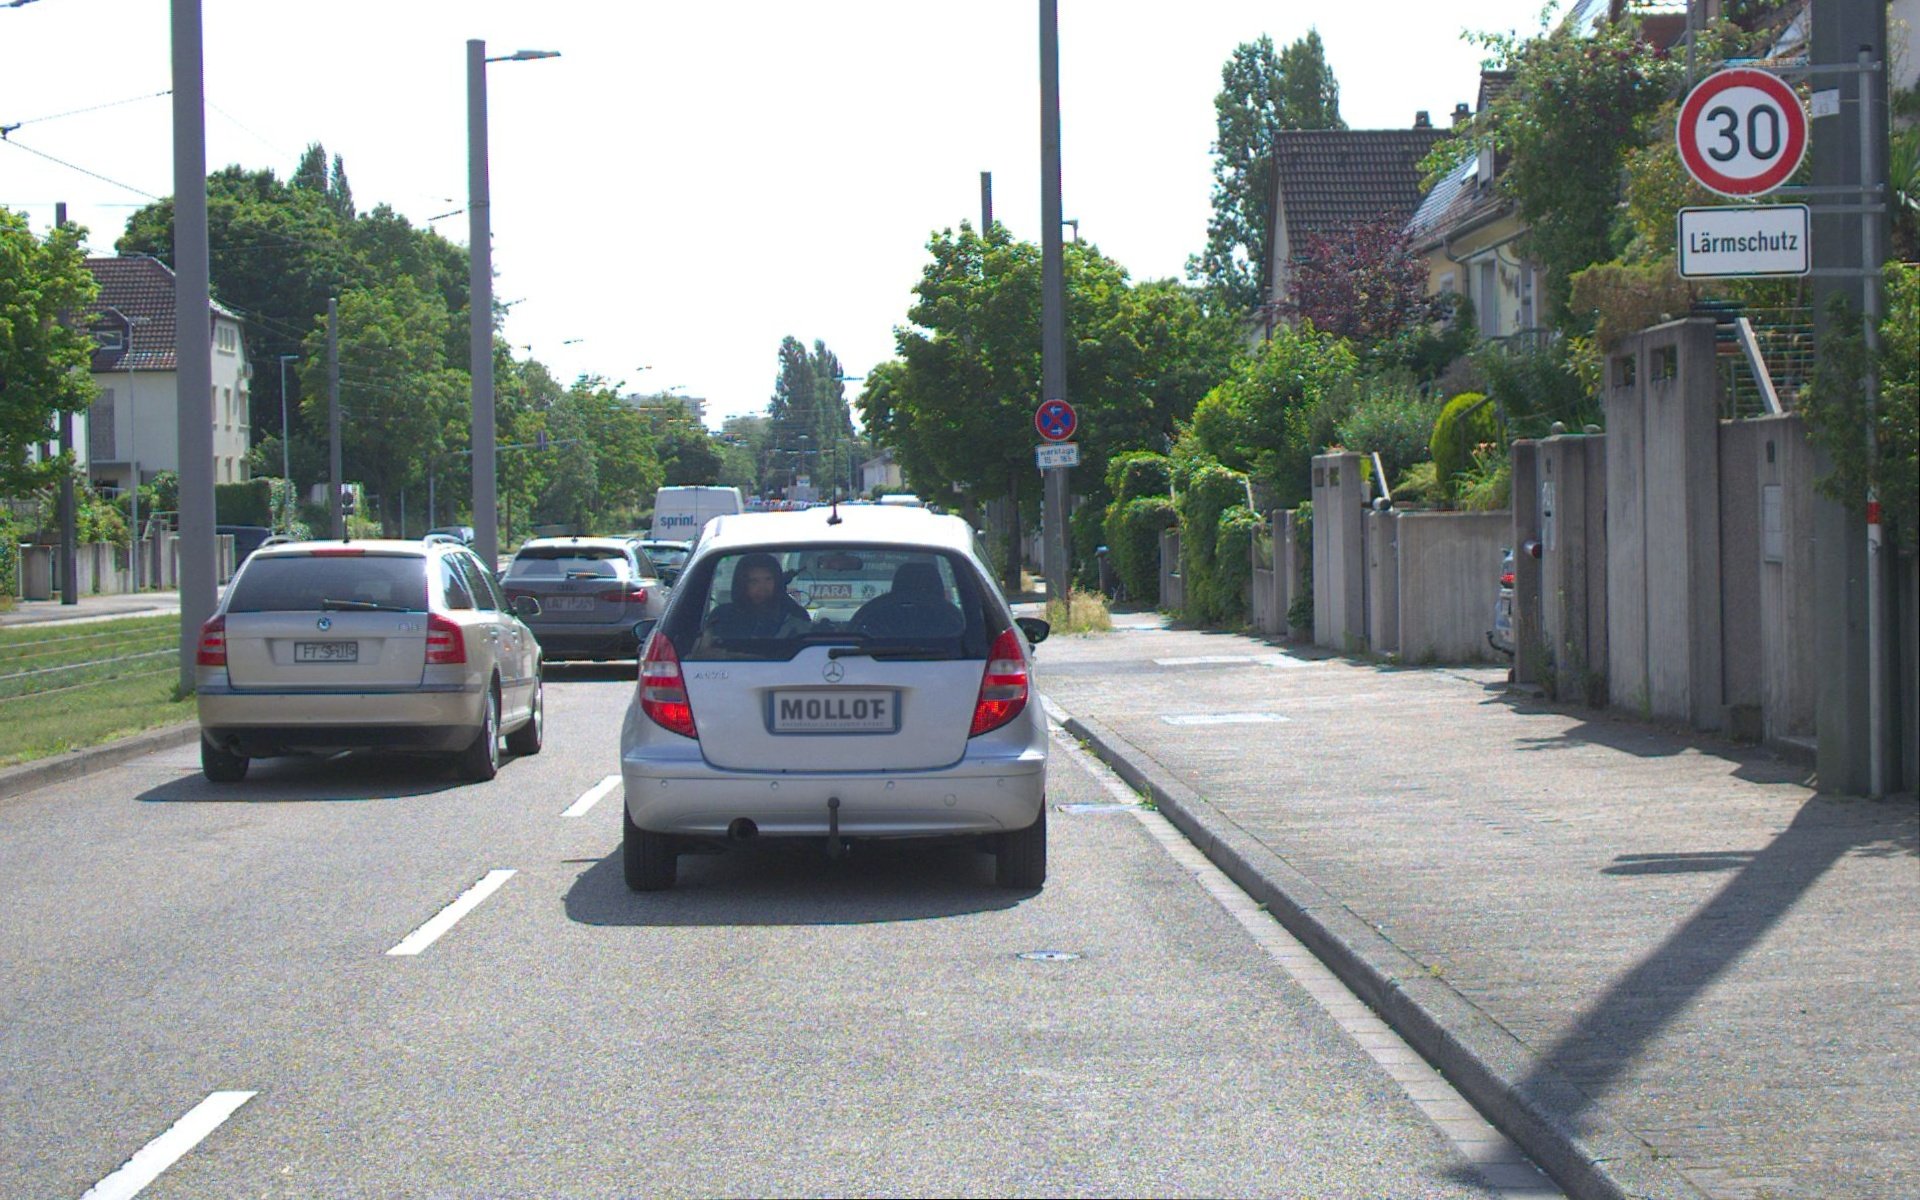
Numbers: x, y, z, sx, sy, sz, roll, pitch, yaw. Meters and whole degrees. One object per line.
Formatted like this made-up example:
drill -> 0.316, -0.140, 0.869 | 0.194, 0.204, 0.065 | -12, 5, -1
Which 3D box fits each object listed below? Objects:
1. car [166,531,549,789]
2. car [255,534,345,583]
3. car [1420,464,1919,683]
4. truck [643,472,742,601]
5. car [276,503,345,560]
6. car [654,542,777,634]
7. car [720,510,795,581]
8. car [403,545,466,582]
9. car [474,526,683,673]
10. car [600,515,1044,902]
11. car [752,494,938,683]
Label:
car -> -3.658, 0.301, 21.544 | 1.731, 1.444, 4.123 | 1, 1, -1
car -> -21.015, -1.336, 109.585 | 1.916, 1.472, 4.562 | 1, 1, 1
car -> 6.169, -0.248, 29.621 | 3.986, 1.678, 2.000 | -2, 1, -4
truck -> -5.490, -1.316, 71.103 | 1.852, 2.543, 5.856 | 1, 1, -3
car -> -27.019, -2.852, 143.125 | 1.916, 2.322, 4.562 | 1, 1, 1
car -> -3.877, -0.217, 55.029 | 1.852, 1.383, 4.515 | 1, 1, -3
car -> -6.068, -1.652, 103.391 | 1.916, 2.070, 4.562 | 1, 1, 1
car -> -22.083, -1.541, 144.623 | 1.916, 1.472, 4.562 | 1, 1, 1
car -> -4.090, -0.050, 37.503 | 1.916, 1.472, 4.563 | 1, 1, -2
car -> -0.621, 0.390, 15.533 | 1.730, 1.511, 4.017 | 1, 1, -2
car -> -1.193, -0.147, 34.159 | 1.729, 1.756, 4.017 | 1, 1, -3
